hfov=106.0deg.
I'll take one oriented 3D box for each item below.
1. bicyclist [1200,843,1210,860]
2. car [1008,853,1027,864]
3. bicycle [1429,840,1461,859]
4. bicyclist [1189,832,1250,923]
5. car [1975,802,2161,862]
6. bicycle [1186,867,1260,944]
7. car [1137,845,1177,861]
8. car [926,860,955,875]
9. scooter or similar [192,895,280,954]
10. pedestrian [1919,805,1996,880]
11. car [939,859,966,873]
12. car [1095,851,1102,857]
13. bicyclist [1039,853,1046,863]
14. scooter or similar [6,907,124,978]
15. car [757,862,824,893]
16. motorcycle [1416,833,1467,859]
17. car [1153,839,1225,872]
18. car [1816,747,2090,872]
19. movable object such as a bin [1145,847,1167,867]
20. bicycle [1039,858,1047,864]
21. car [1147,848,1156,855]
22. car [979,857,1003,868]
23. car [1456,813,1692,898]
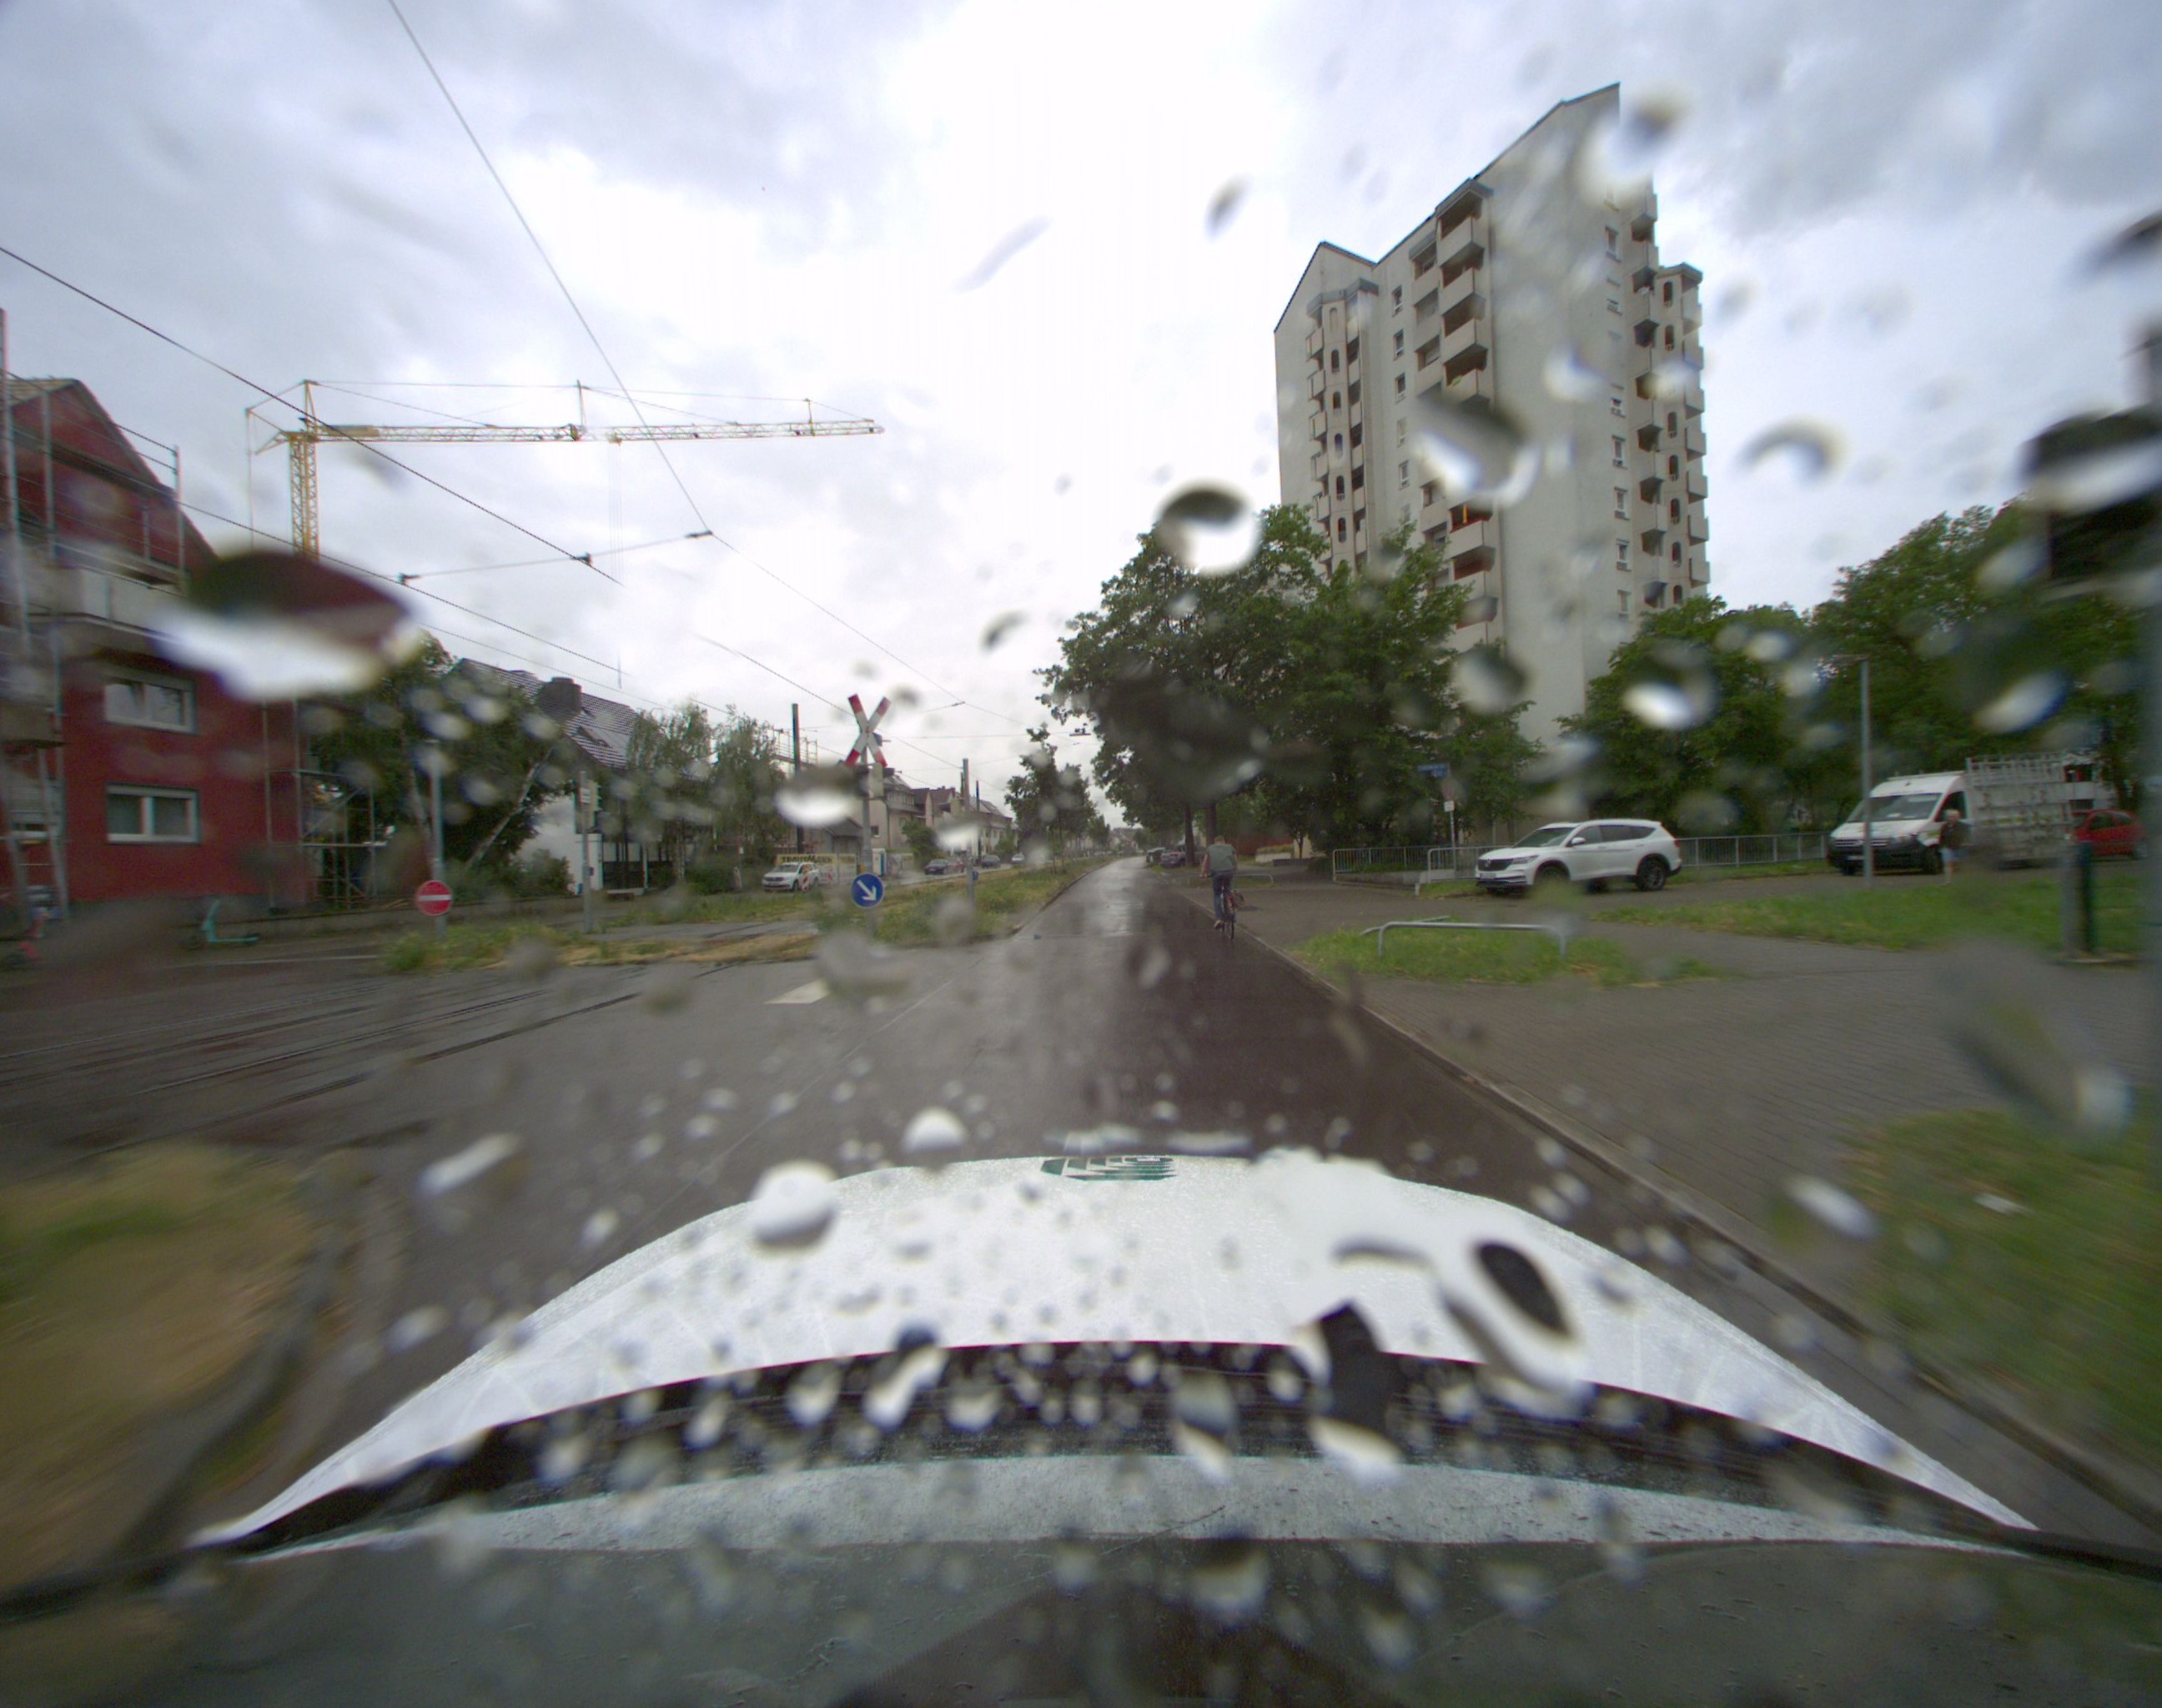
[{"bbox_3d":[11.467,-0.234,75.270,0.732,1.594,0.945,-3,0,3],"label":"bicyclist"},{"bbox_3d":[-9.407,0.659,121.291,1.887,1.469,4.696,0,0,6],"label":"car"},{"bbox_3d":[18.618,-0.235,41.666,0.410,0.925,1.449,-3,0,-34],"label":"bicycle"},{"bbox_3d":[2.316,0.382,13.748,0.807,1.432,1.060,-3,0,1],"label":"bicyclist"},{"bbox_3d":[28.402,-0.621,23.194,4.404,1.526,1.901,-2,0,-10],"label":"car"},{"bbox_3d":[2.348,0.819,13.822,0.807,1.096,2.517,-3,0,1],"label":"bicycle"},{"bbox_3d":[8.052,-0.123,86.429,4.057,1.443,1.569,-3,0,-34],"label":"car"},{"bbox_3d":[-12.592,1.162,73.202,1.656,1.244,4.075,0,0,4],"label":"car"},{"bbox_3d":[-18.667,1.544,18.019,0.390,1.180,1.289,-2,0,17],"label":"scooter or similar"},{"bbox_3d":[18.981,-0.241,17.642,0.839,1.570,0.810,-2,0,-17],"label":"pedestrian"},{"bbox_3d":[-12.329,1.113,78.386,1.667,1.244,3.859,0,0,4],"label":"car"},{"bbox_3d":[5.076,-0.016,240.144,1.835,1.672,4.004,-3,0,4],"label":"car"},{"bbox_3d":[-6.585,0.722,139.470,1.014,1.685,1.093,-3,0,3],"label":"bicyclist"},{"bbox_3d":[-18.574,1.592,14.913,0.435,1.129,1.291,-3,0,32],"label":"scooter or similar"},{"bbox_3d":[-15.576,1.214,43.914,1.702,1.542,4.427,0,0,4],"label":"car"},{"bbox_3d":[19.044,-0.415,43.067,0.889,1.288,2.278,-3,0,-34],"label":"motorcycle"},{"bbox_3d":[7.009,0.103,52.581,4.161,1.719,1.981,-5,1,-29],"label":"car"},{"bbox_3d":[22.867,-1.164,21.416,6.062,2.964,2.121,-2,0,-13],"label":"car"},{"bbox_3d":[6.088,0.278,66.177,1.128,1.457,1.392,-8,2,-18],"label":"movable object such as a bin"},{"bbox_3d":[-6.510,1.210,140.301,1.014,1.027,3.200,-3,0,3],"label":"bicycle"},{"bbox_3d":[14.985,-0.545,173.325,1.825,1.586,4.004,-3,0,4],"label":"car"},{"bbox_3d":[-10.887,0.986,99.083,1.887,1.244,4.696,0,0,6],"label":"car"},{"bbox_3d":[11.818,0.007,19.614,4.808,1.745,1.991,-2,0,-13],"label":"car"}]
